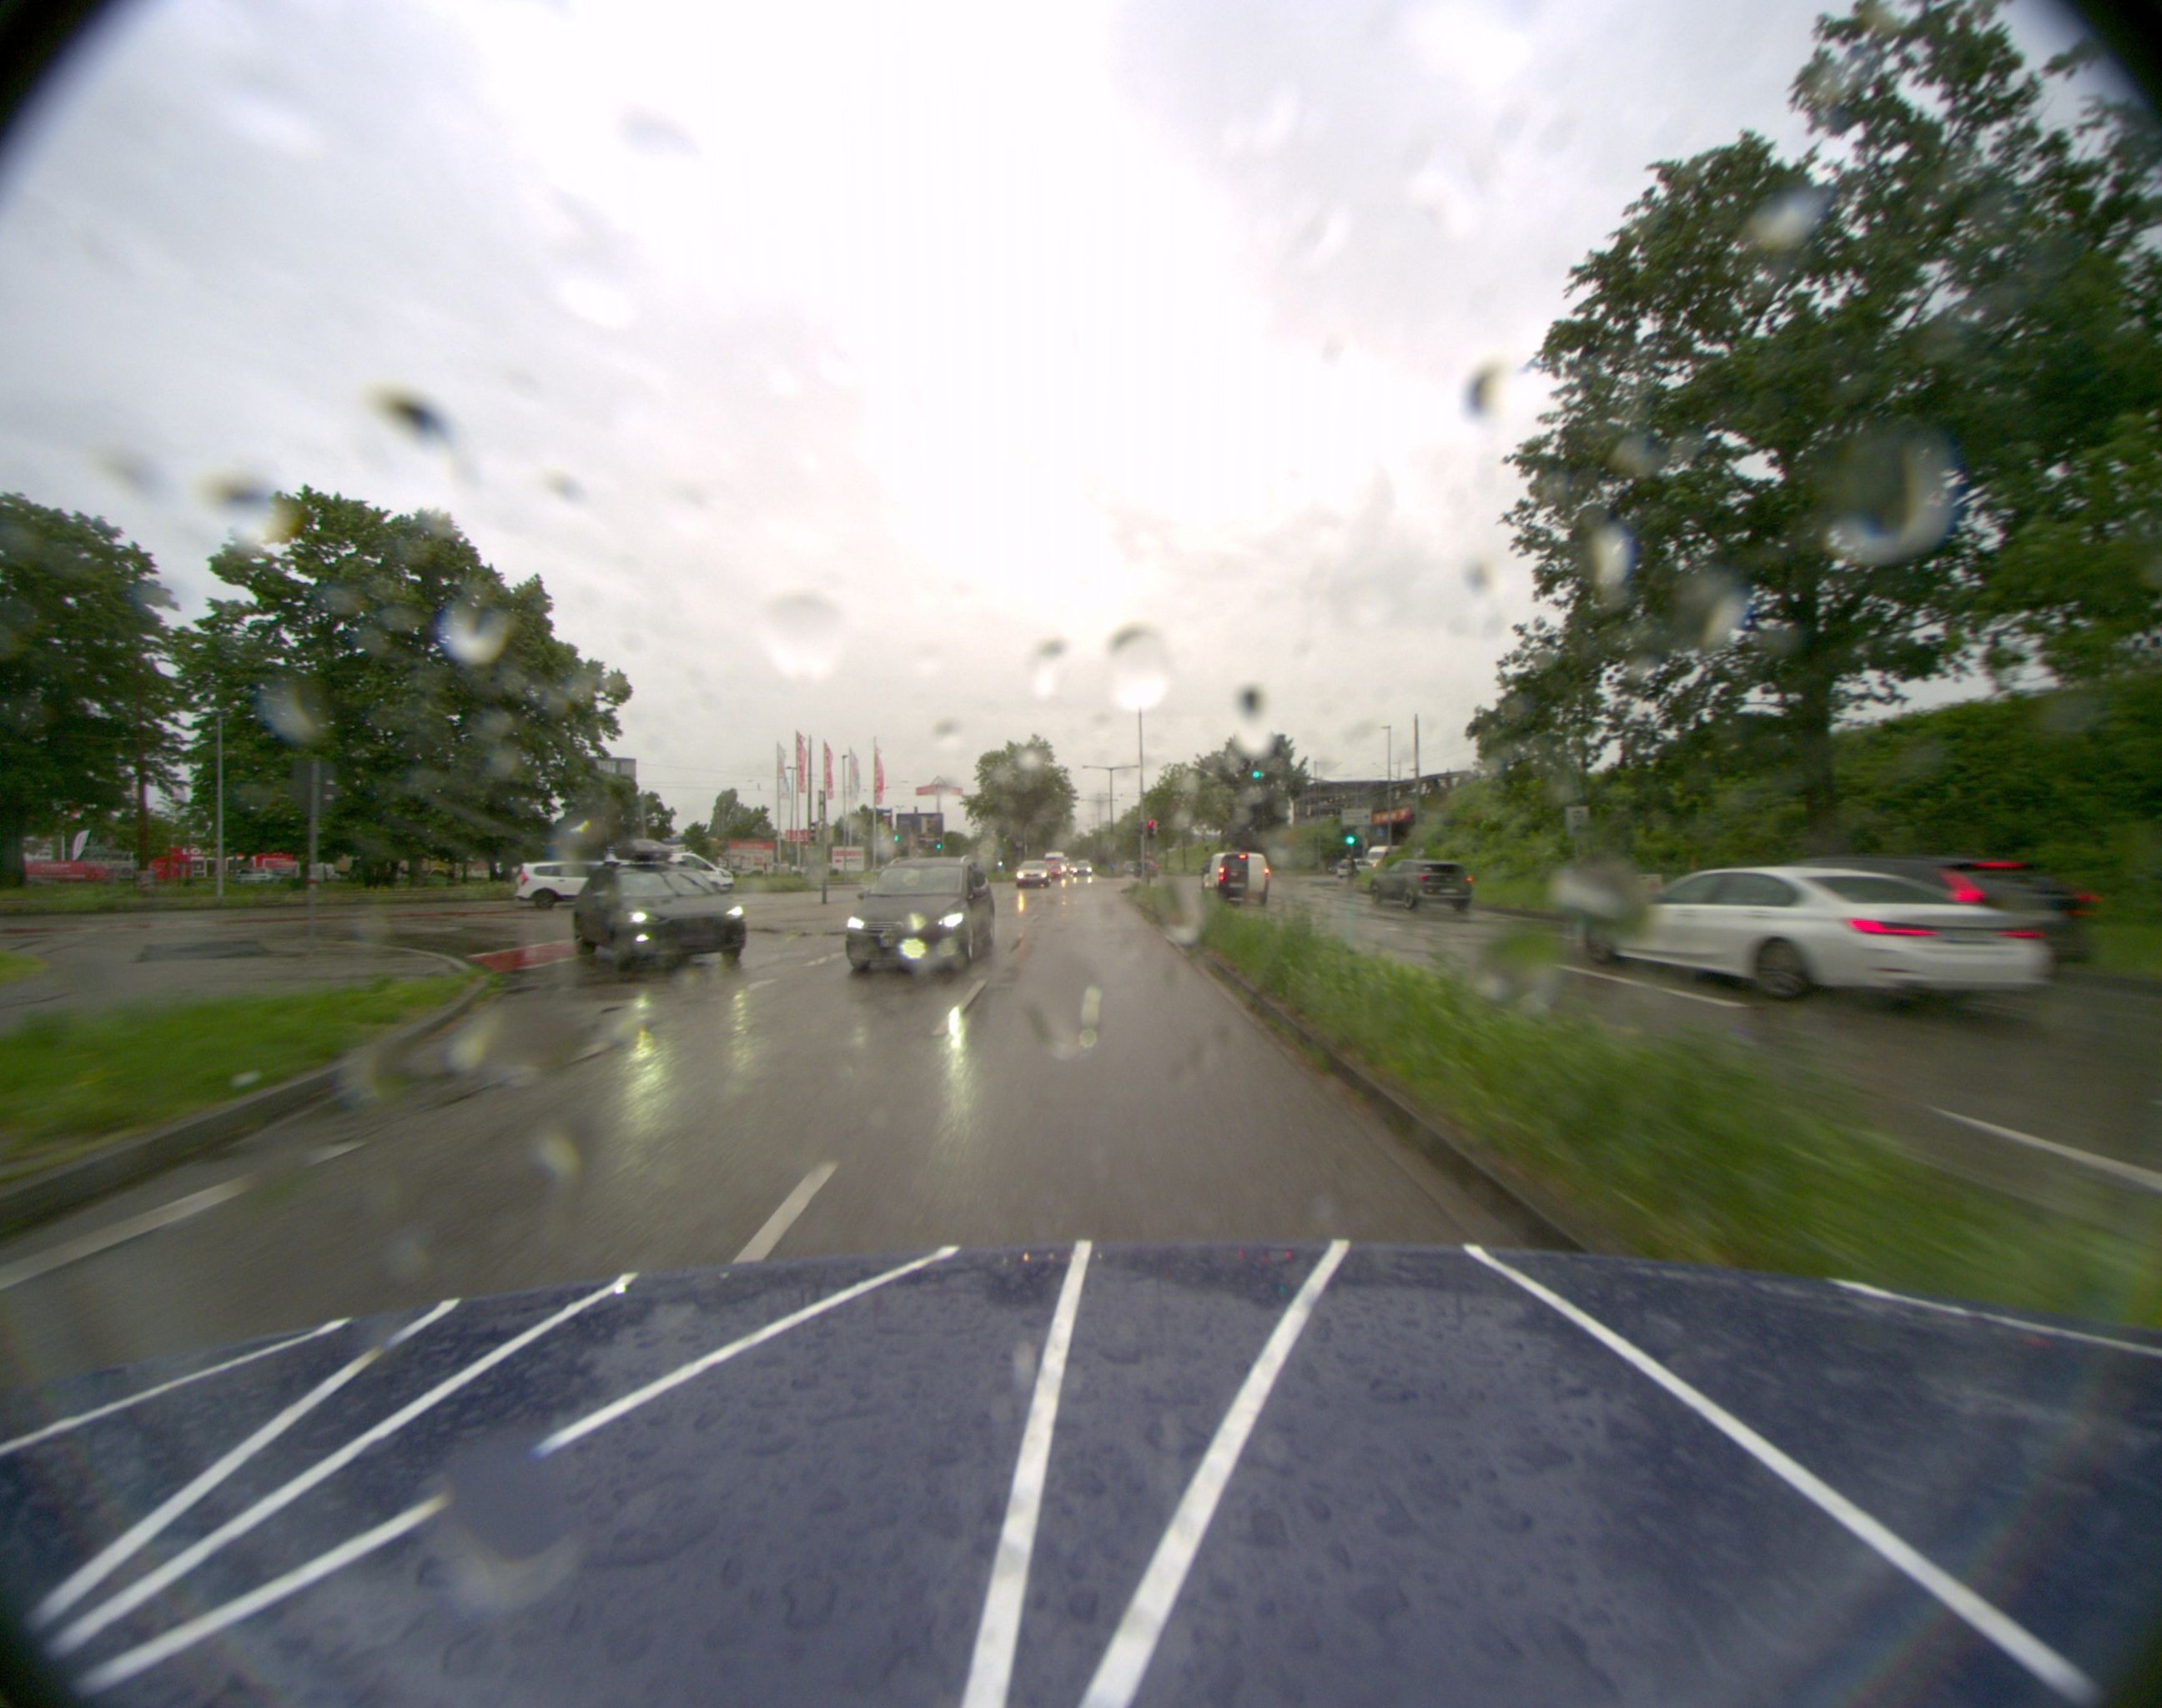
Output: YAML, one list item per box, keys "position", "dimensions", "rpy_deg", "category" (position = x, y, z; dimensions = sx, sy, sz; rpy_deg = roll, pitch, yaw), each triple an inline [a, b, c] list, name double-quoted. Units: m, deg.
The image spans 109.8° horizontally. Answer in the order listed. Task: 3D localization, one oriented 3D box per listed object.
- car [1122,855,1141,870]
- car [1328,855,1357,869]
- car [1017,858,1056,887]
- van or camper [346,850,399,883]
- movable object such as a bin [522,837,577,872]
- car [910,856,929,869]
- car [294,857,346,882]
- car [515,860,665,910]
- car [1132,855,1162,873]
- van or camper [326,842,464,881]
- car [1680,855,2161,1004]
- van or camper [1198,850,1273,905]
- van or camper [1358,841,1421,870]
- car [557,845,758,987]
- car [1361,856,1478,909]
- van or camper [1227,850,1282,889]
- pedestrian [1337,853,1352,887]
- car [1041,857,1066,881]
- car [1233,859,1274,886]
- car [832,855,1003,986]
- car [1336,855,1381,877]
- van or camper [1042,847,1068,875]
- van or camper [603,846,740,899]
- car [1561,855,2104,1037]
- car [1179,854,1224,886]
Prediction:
- position: [5.686, 0.949, 85.909]
  dimensions: [1.697, 1.592, 3.622]
  rpy_deg: [0, 0, -5]
  category: "car"
- position: [27.171, 0.832, 78.819]
  dimensions: [1.689, 1.339, 3.476]
  rpy_deg: [0, 1, 41]
  category: "car"
- position: [-2.409, 0.991, 42.043]
  dimensions: [1.807, 1.422, 4.386]
  rpy_deg: [-1, 0, 1]
  category: "car"
- position: [-50.846, 0.840, 54.606]
  dimensions: [2.138, 2.286, 4.455]
  rpy_deg: [0, 0, -35]
  category: "van or camper"
- position: [-53.176, 0.039, 76.048]
  dimensions: [4.260, 3.266, 2.321]
  rpy_deg: [-3, 2, -37]
  category: "movable object such as a bin"
- position: [-22.139, 1.144, 104.409]
  dimensions: [1.822, 1.610, 3.999]
  rpy_deg: [0, 0, -2]
  category: "car"
- position: [-53.727, 1.059, 53.725]
  dimensions: [1.870, 1.718, 3.957]
  rpy_deg: [0, 0, -35]
  category: "car"
- position: [-18.031, 1.061, 28.008]
  dimensions: [4.470, 1.663, 1.863]
  rpy_deg: [0, 0, -38]
  category: "car"
- position: [6.102, 0.867, 70.338]
  dimensions: [1.977, 1.592, 4.385]
  rpy_deg: [0, 0, -6]
  category: "car"
- position: [-62.942, 0.603, 70.062]
  dimensions: [8.994, 3.139, 2.979]
  rpy_deg: [-3, 2, -35]
  category: "van or camper"
- position: [11.483, 0.857, 10.905]
  dimensions: [2.042, 1.651, 4.678]
  rpy_deg: [0, 0, -1]
  category: "car"
- position: [5.297, 0.753, 26.492]
  dimensions: [1.733, 1.732, 3.999]
  rpy_deg: [1, 0, -1]
  category: "van or camper"
- position: [28.659, 0.107, 70.406]
  dimensions: [6.941, 2.647, 1.995]
  rpy_deg: [-1, 1, -35]
  category: "van or camper"
- position: [-7.547, 0.886, 13.296]
  dimensions: [1.936, 2.044, 4.742]
  rpy_deg: [-1, 0, -44]
  category: "car"
- position: [11.121, 0.880, 25.354]
  dimensions: [1.903, 1.603, 4.405]
  rpy_deg: [0, 0, -1]
  category: "car"
- position: [8.502, 0.717, 37.514]
  dimensions: [1.705, 1.774, 4.220]
  rpy_deg: [1, 0, -1]
  category: "van or camper"
- position: [13.909, 0.831, 40.110]
  dimensions: [0.485, 1.777, 0.626]
  rpy_deg: [-1, 1, -8]
  category: "pedestrian"
- position: [-2.149, 1.146, 60.060]
  dimensions: [1.699, 1.759, 4.558]
  rpy_deg: [-1, 0, 1]
  category: "car"
- position: [10.824, 1.135, 48.021]
  dimensions: [1.676, 1.535, 3.787]
  rpy_deg: [1, 0, -1]
  category: "car"
- position: [-2.444, 0.904, 12.465]
  dimensions: [1.861, 1.716, 4.190]
  rpy_deg: [-2, 0, 0]
  category: "car"
- position: [21.469, 0.917, 58.767]
  dimensions: [3.574, 1.592, 1.649]
  rpy_deg: [0, 0, -39]
  category: "car"
- position: [-2.439, 0.675, 73.230]
  dimensions: [2.100, 2.579, 4.776]
  rpy_deg: [-2, 0, 1]
  category: "van or camper"
- position: [-17.410, 0.733, 32.430]
  dimensions: [4.918, 2.076, 1.863]
  rpy_deg: [0, 0, -38]
  category: "van or camper"
- position: [8.313, 0.836, 9.255]
  dimensions: [1.903, 1.603, 4.711]
  rpy_deg: [1, 0, 0]
  category: "car"
- position: [6.230, 0.801, 39.628]
  dimensions: [1.780, 1.552, 3.773]
  rpy_deg: [-2, 0, 1]
  category: "car"
